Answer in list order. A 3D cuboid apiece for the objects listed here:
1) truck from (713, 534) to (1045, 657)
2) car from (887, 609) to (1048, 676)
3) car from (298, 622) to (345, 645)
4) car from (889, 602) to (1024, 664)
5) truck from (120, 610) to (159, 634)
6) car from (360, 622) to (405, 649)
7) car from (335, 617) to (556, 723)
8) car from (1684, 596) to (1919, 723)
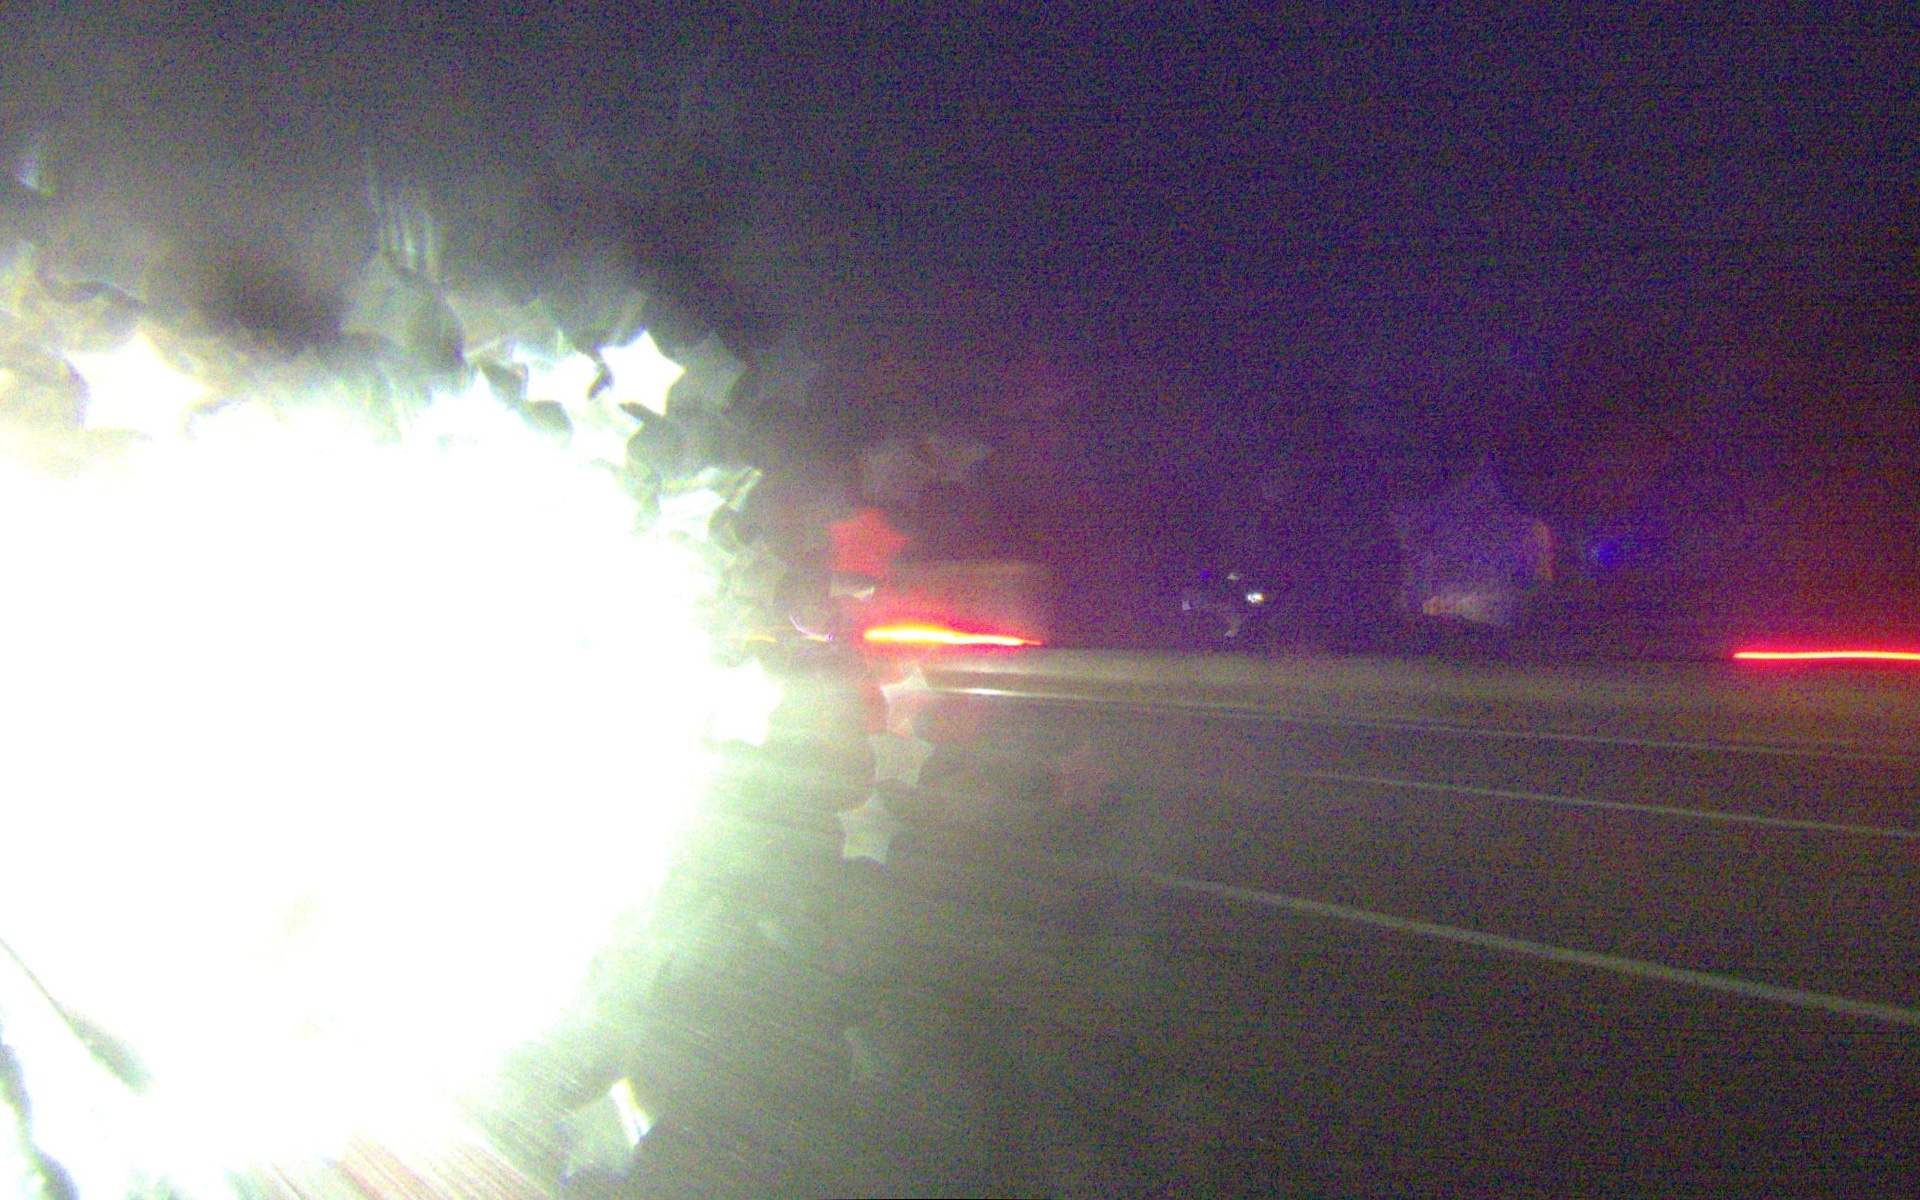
[{"bbox_3d":[-4.331,-0.064,44.981,17.591,4.593,3.374,-1,0,41],"label":"truck"},{"bbox_3d":[0.142,1.006,25.080,3.813,1.515,1.661,-1,0,41],"label":"car"},{"bbox_3d":[-50.937,2.638,80.670,4.344,1.685,1.973,-1,0,41],"label":"car"},{"bbox_3d":[-0.161,0.962,30.455,3.874,1.737,1.723,-1,0,41],"label":"car"},{"bbox_3d":[-100.503,2.682,123.985,7.747,2.867,2.868,-1,0,45],"label":"truck"},{"bbox_3d":[-40.444,2.464,70.866,3.910,1.818,1.613,-1,0,42],"label":"car"},{"bbox_3d":[-8.258,1.030,16.081,4.243,1.441,1.639,-2,-1,41],"label":"car"},{"bbox_3d":[12.933,0.773,13.986,4.618,1.629,1.876,-1,0,41],"label":"car"}]
